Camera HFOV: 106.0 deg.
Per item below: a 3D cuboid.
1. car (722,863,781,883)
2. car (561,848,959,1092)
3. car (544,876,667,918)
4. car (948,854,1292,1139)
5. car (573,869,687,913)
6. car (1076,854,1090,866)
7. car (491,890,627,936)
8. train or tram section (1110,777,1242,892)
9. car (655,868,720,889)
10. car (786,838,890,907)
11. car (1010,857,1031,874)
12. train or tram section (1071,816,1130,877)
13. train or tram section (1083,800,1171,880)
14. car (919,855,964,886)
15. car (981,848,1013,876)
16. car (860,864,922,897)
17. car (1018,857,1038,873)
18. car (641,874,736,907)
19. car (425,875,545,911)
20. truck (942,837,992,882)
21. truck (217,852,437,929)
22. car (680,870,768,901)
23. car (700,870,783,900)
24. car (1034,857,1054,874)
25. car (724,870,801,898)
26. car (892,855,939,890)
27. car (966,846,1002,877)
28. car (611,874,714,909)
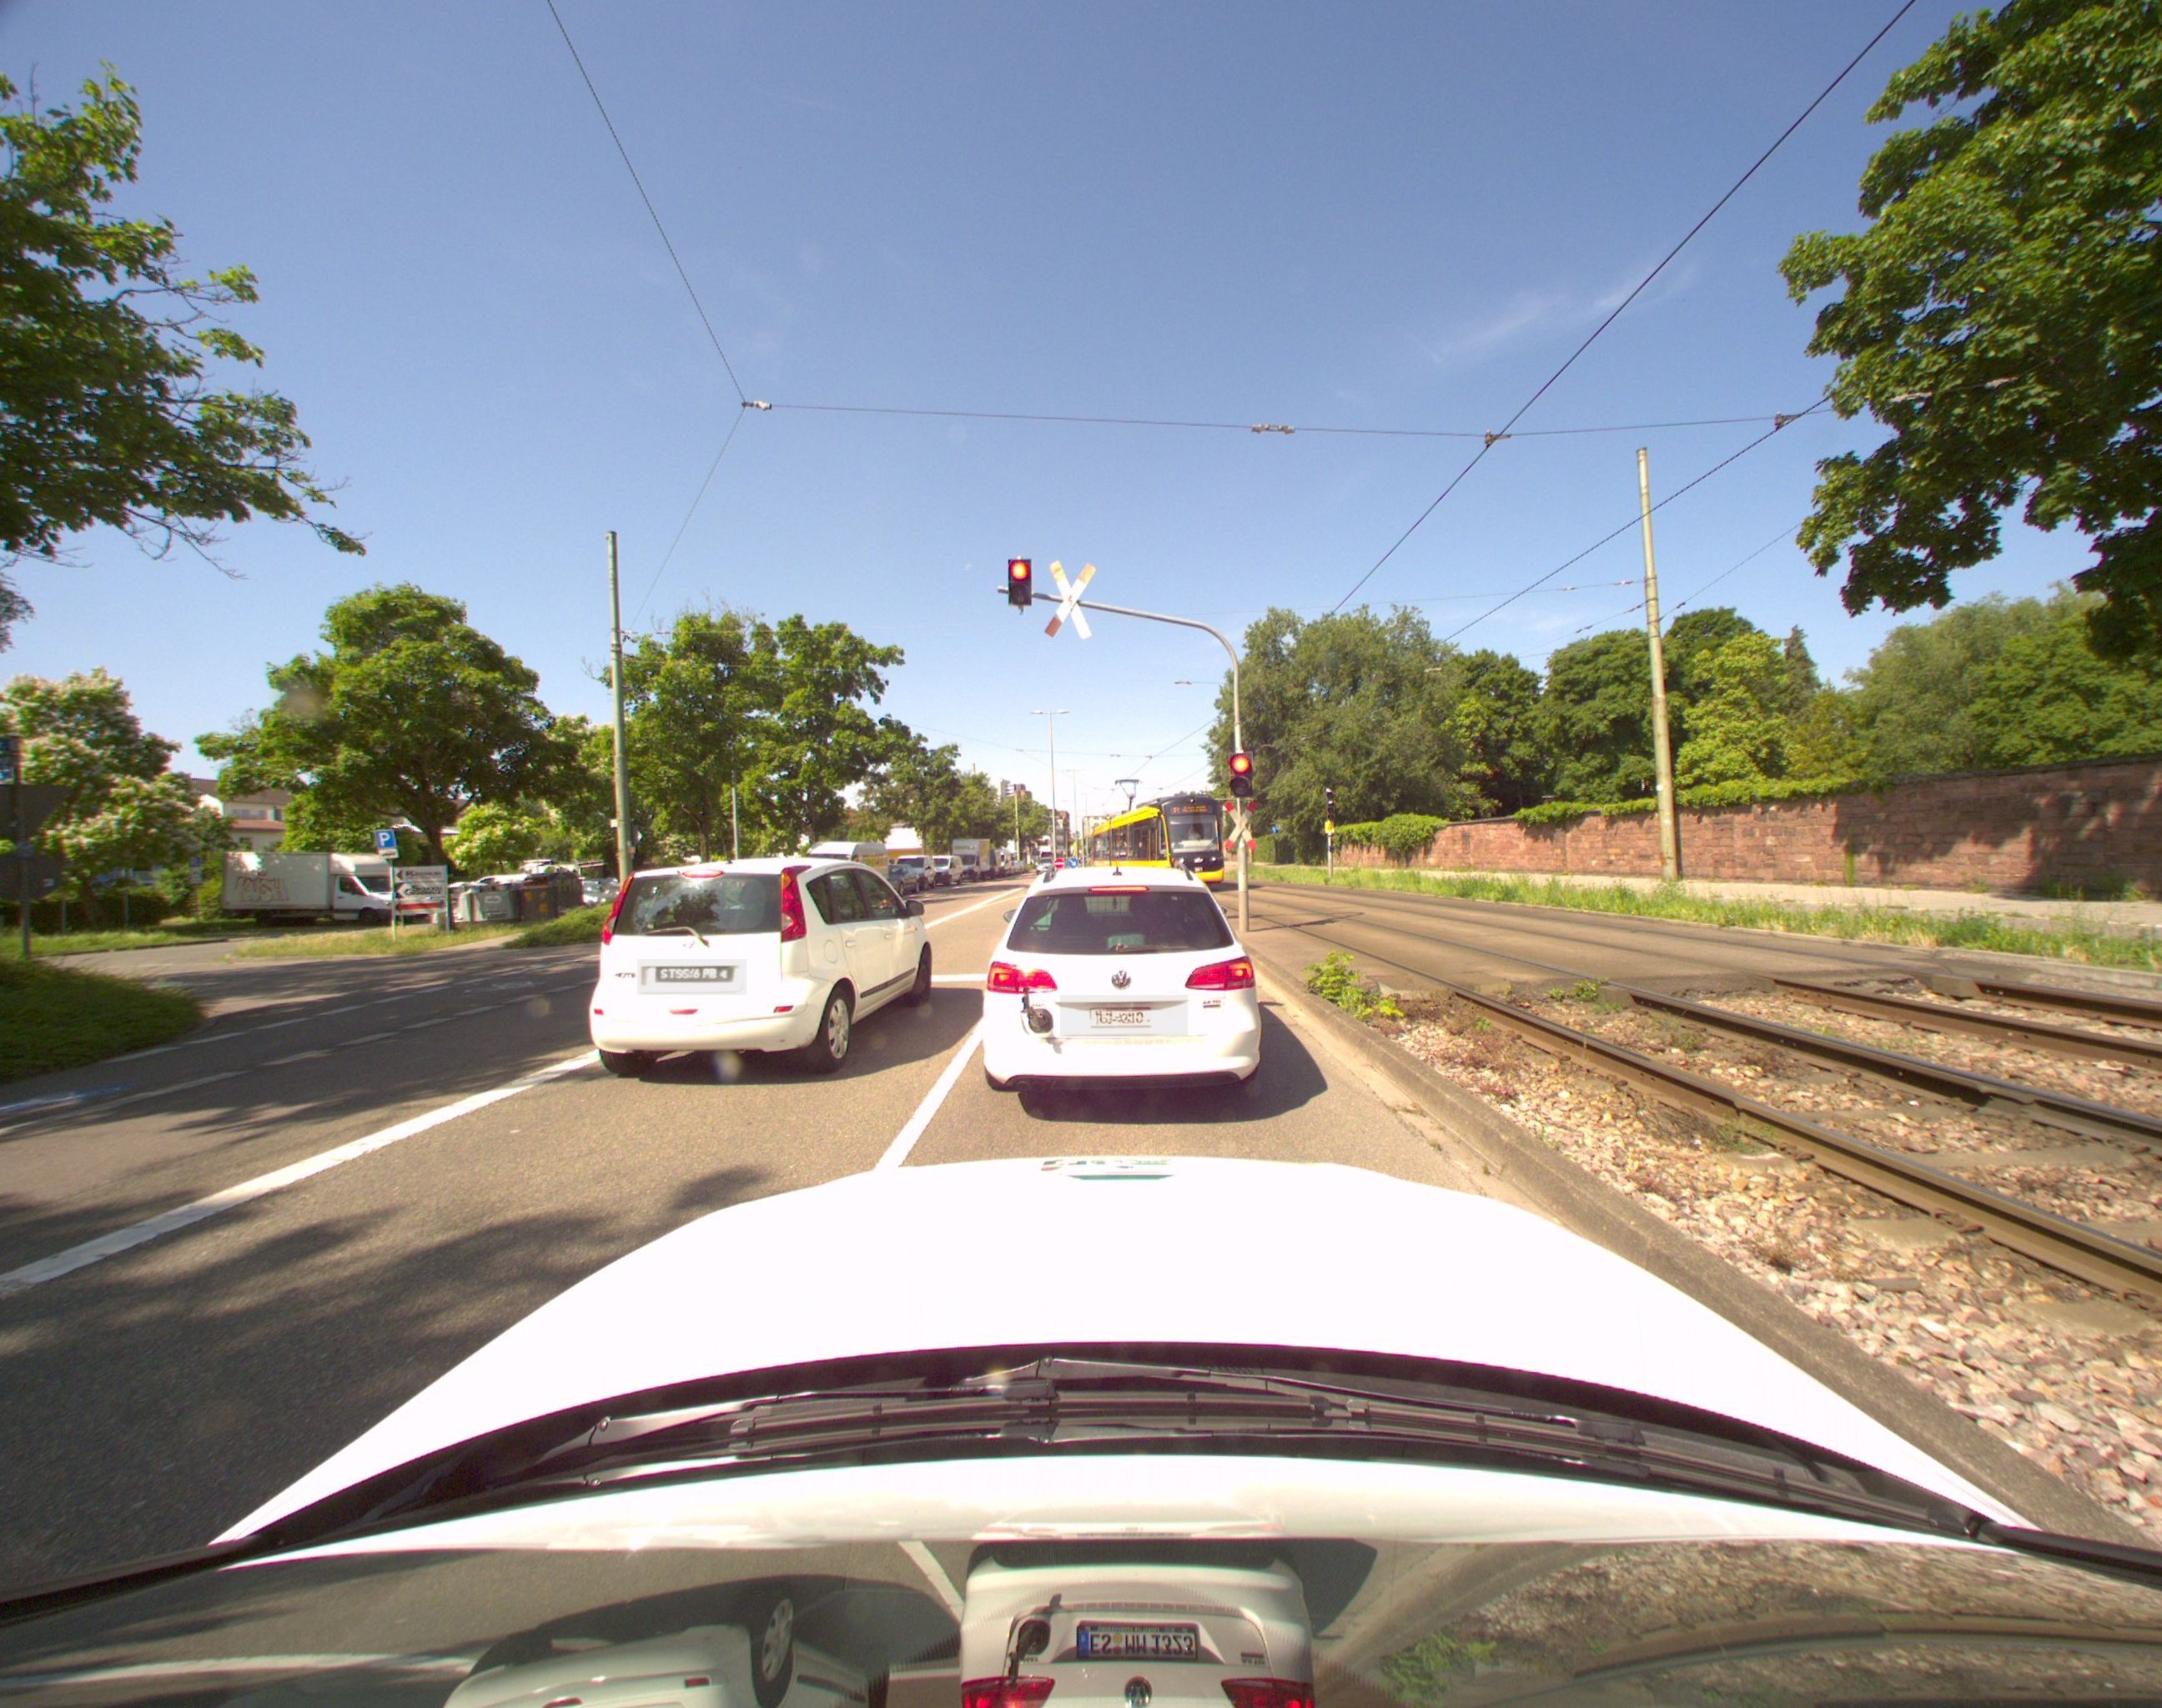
[{"bbox_3d":[-31.473,1.817,77.946,4.780,1.787,2.062,0,-1,-3],"label":"car"},{"bbox_3d":[-2.427,0.749,7.544,1.655,1.547,4.550,-1,0,3],"label":"car"},{"bbox_3d":[-19.664,1.766,33.799,3.977,1.415,1.729,-4,-1,-3],"label":"car"},{"bbox_3d":[0.267,0.755,6.313,1.756,1.430,4.002,-3,0,2],"label":"car"},{"bbox_3d":[-19.916,1.626,36.075,3.977,1.610,1.729,-4,-1,-3],"label":"car"},{"bbox_3d":[0.308,0.829,112.756,1.698,1.473,4.593,-3,0,3],"label":"car"},{"bbox_3d":[-19.898,2.232,31.175,3.977,1.415,1.729,-4,-1,-3],"label":"car"},{"bbox_3d":[3.488,-0.662,34.174,2.866,3.855,12.368,-3,0,-5],"label":"train or tram section"},{"bbox_3d":[-35.199,2.194,72.979,4.780,1.787,2.062,0,-1,-3],"label":"car"},{"bbox_3d":[-9.579,0.685,32.682,2.114,2.516,5.822,0,0,3],"label":"car"},{"bbox_3d":[-6.776,1.291,92.035,1.856,1.868,5.415,0,0,1],"label":"car"},{"bbox_3d":[1.195,-0.480,57.935,2.866,3.855,10.518,-3,0,-5],"label":"train or tram section"},{"bbox_3d":[2.308,-0.669,46.516,2.867,3.855,12.364,-3,0,-6],"label":"train or tram section"},{"bbox_3d":[-8.870,1.011,52.277,1.856,1.868,5.415,0,0,1],"label":"car"},{"bbox_3d":[-7.772,0.677,76.128,2.114,2.516,5.737,0,0,2],"label":"car"},{"bbox_3d":[-9.061,1.221,39.100,1.856,1.415,4.281,0,0,1],"label":"car"},{"bbox_3d":[-6.394,1.356,98.947,1.856,1.868,5.415,0,0,1],"label":"car"},{"bbox_3d":[-20.287,1.867,42.222,3.977,1.415,1.729,-4,-1,-3],"label":"car"},{"bbox_3d":[-31.767,2.045,43.536,4.780,1.787,2.062,0,-1,-3],"label":"car"},{"bbox_3d":[-8.390,0.377,60.698,2.411,3.150,7.001,0,0,2],"label":"truck"},{"bbox_3d":[-32.423,1.518,35.213,6.979,3.110,2.677,0,0,0],"label":"truck"},{"bbox_3d":[-19.538,1.720,44.738,3.977,1.415,1.729,-4,-1,-3],"label":"car"},{"bbox_3d":[-19.552,1.762,47.074,3.977,1.415,1.729,-4,-1,-3],"label":"car"},{"bbox_3d":[-3.617,1.132,80.792,1.670,1.553,3.580,-4,0,1],"label":"car"},{"bbox_3d":[-19.462,1.819,49.888,3.977,1.415,1.729,-4,-1,-3],"label":"car"},{"bbox_3d":[-9.224,0.990,45.694,1.859,1.868,5.068,0,0,-4],"label":"car"},{"bbox_3d":[-8.148,0.616,68.696,2.114,2.516,5.737,0,0,2],"label":"car"},{"bbox_3d":[-20.294,1.803,39.611,3.977,1.415,1.729,-4,-1,-3],"label":"car"}]
